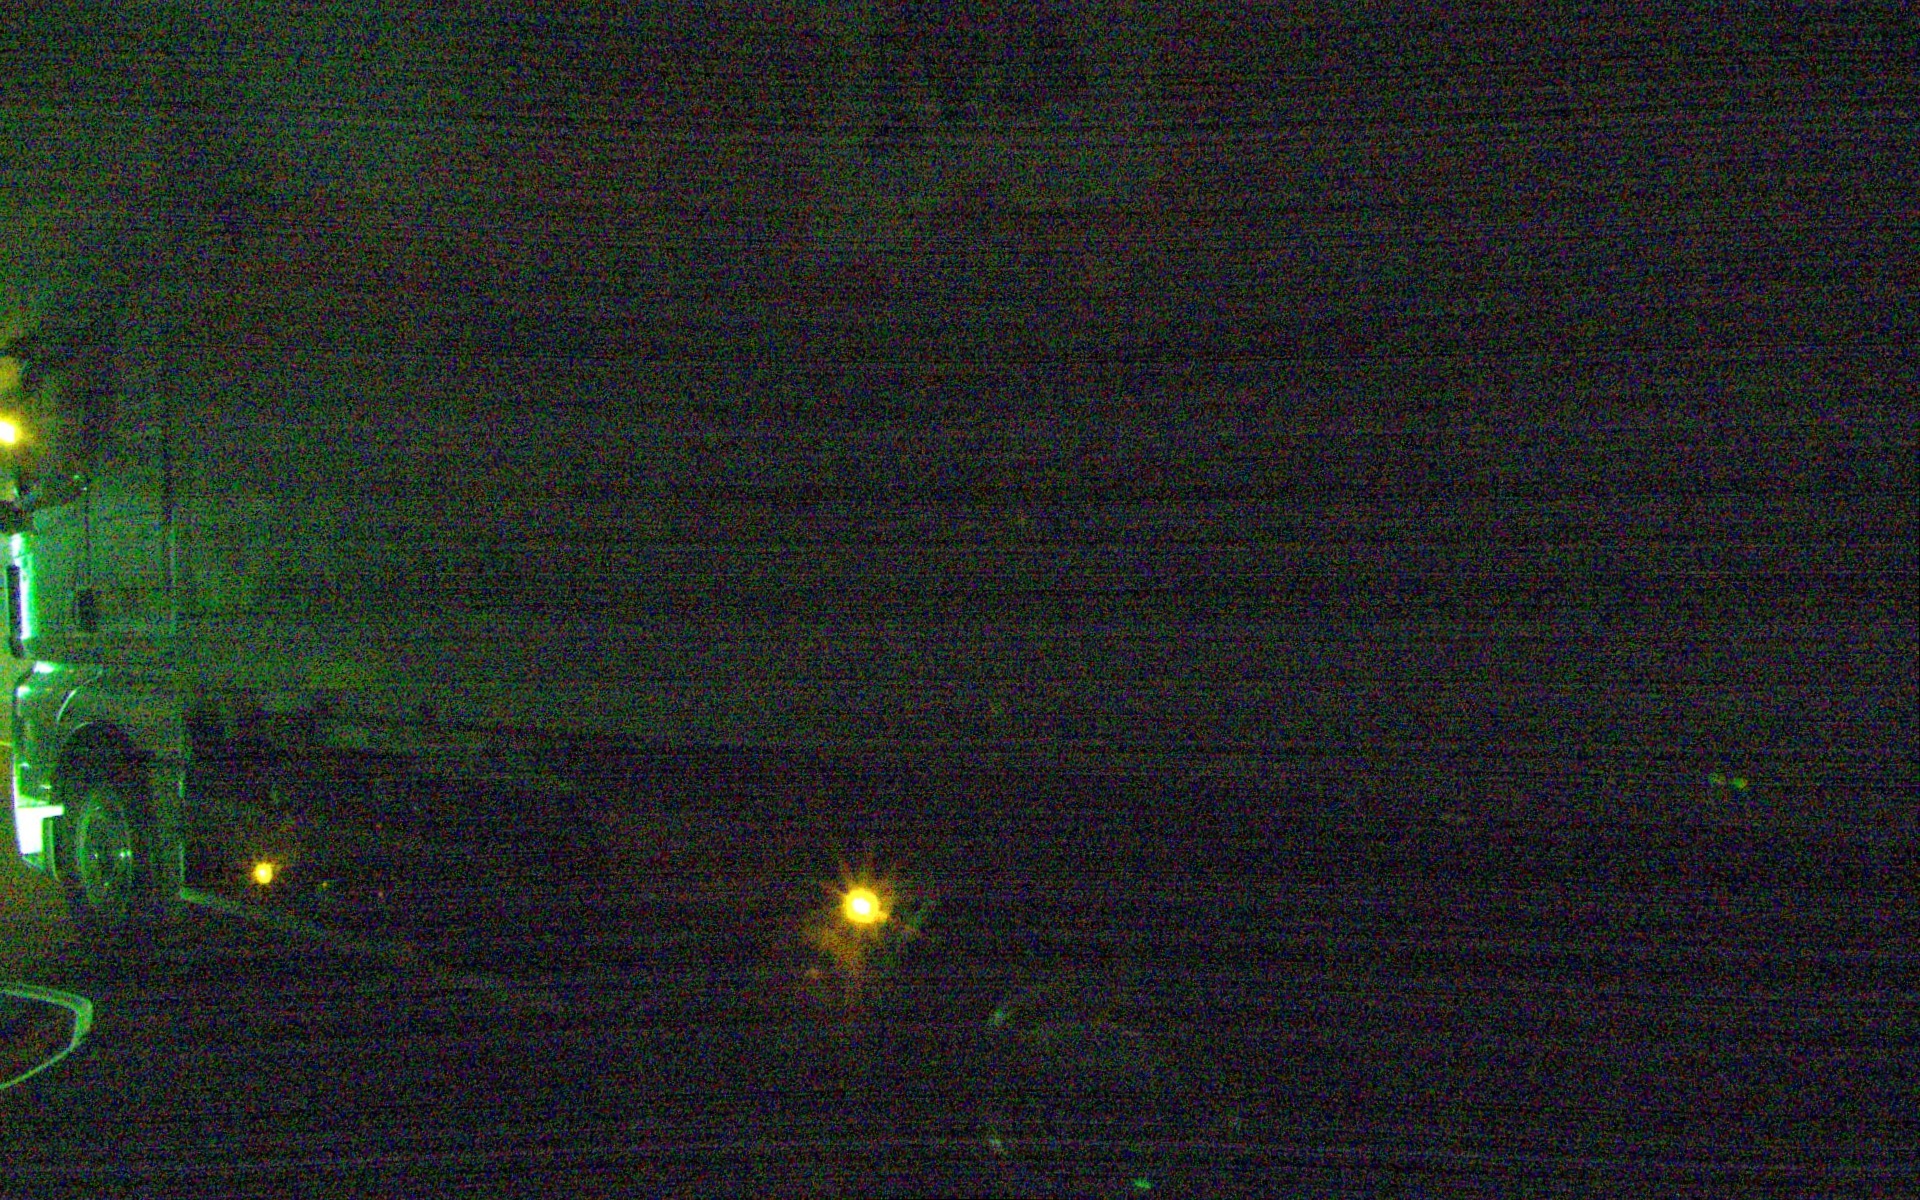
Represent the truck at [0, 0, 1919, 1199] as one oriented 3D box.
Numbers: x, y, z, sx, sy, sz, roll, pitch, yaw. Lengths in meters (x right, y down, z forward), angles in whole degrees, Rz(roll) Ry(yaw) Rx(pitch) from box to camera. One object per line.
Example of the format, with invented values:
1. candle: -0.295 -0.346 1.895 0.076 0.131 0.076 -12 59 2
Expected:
1. truck: -0.160 -0.446 3.595 9.763 3.964 2.885 0 -1 31
